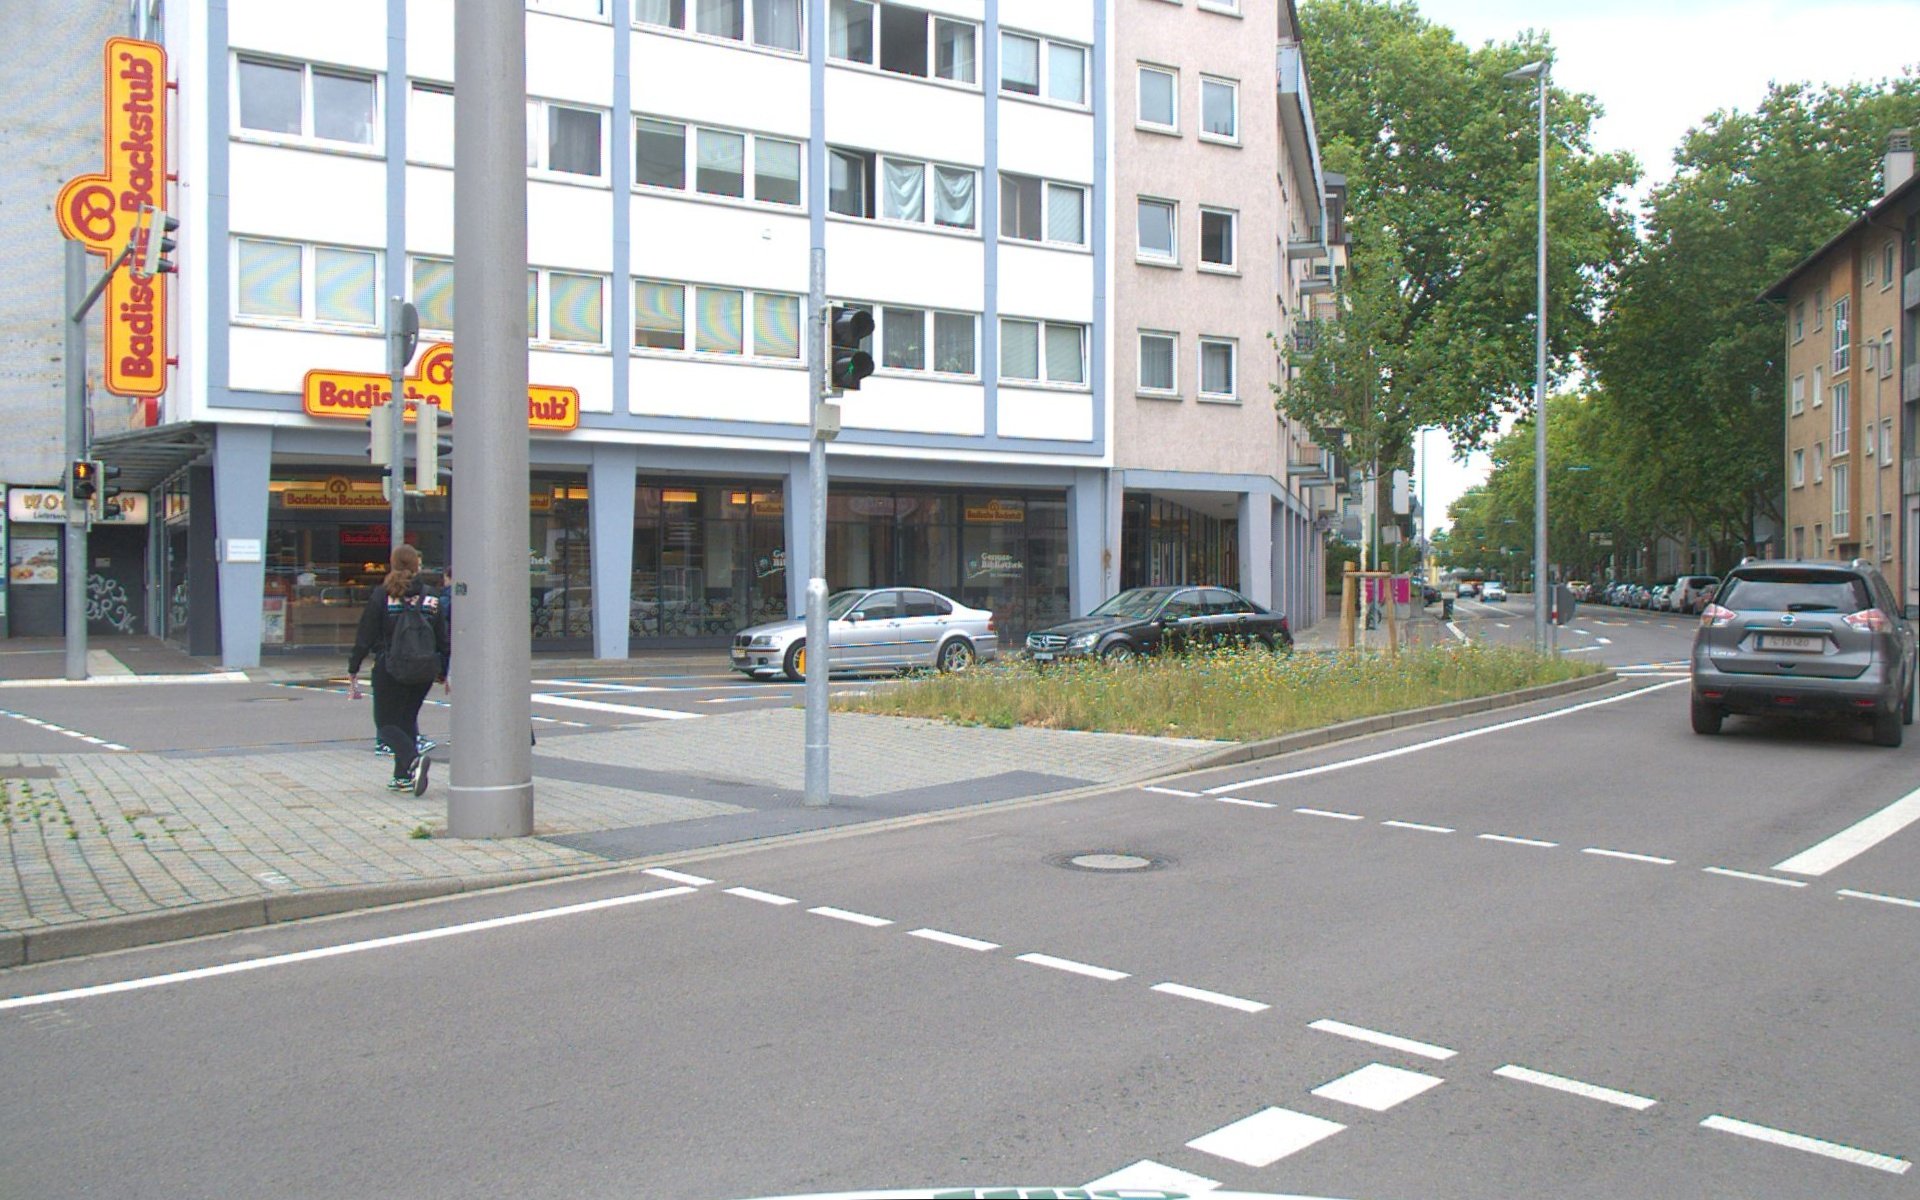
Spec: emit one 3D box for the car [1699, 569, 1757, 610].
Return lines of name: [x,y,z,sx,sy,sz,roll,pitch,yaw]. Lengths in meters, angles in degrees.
car: [35.720,-0.512,77.004,1.824,1.805,3.986,1,1,16]

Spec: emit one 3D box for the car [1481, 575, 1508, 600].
car: [40.555,-0.972,125.613,1.824,1.805,3.986,1,1,16]

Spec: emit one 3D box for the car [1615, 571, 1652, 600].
car: [44.598,-0.982,109.541,1.824,1.805,3.986,1,1,16]

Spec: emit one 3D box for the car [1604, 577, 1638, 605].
car: [45.801,-0.633,114.643,1.824,1.805,3.986,1,1,16]

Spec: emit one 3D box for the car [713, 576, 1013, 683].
car: [-1.488,0.416,26.162,4.510,1.507,1.728,-1,1,-33]

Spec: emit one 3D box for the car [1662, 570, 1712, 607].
car: [37.365,-0.636,85.056,1.824,1.805,3.986,1,1,16]

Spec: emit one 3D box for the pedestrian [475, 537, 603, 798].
pedestrian: [-3.025,0.462,11.855,0.617,1.792,0.769,1,0,-38]

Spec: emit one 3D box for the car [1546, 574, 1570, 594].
car: [56.719,-1.501,156.853,1.824,1.805,3.986,1,1,16]

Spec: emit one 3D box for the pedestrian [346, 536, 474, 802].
pedestrian: [-3.864,0.463,11.610,0.617,1.792,0.769,1,0,-38]

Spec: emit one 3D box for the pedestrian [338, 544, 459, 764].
pedestrian: [-4.967,0.456,14.606,0.708,1.864,1.003,1,0,-38]

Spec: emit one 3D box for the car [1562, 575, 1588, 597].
car: [52.915,-1.202,142.333,1.824,1.805,3.986,1,1,16]

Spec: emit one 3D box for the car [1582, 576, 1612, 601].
car: [48.790,-0.918,126.785,1.824,1.805,3.986,1,1,16]

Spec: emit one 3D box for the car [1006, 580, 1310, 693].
car: [3.028,0.485,24.870,4.510,1.507,1.728,-1,1,-33]

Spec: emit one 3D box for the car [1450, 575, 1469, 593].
car: [50.731,-1.623,167.917,1.824,1.805,3.986,1,1,16]

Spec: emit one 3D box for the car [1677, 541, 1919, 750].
car: [8.674,0.344,16.833,1.830,1.805,4.555,2,2,32]
